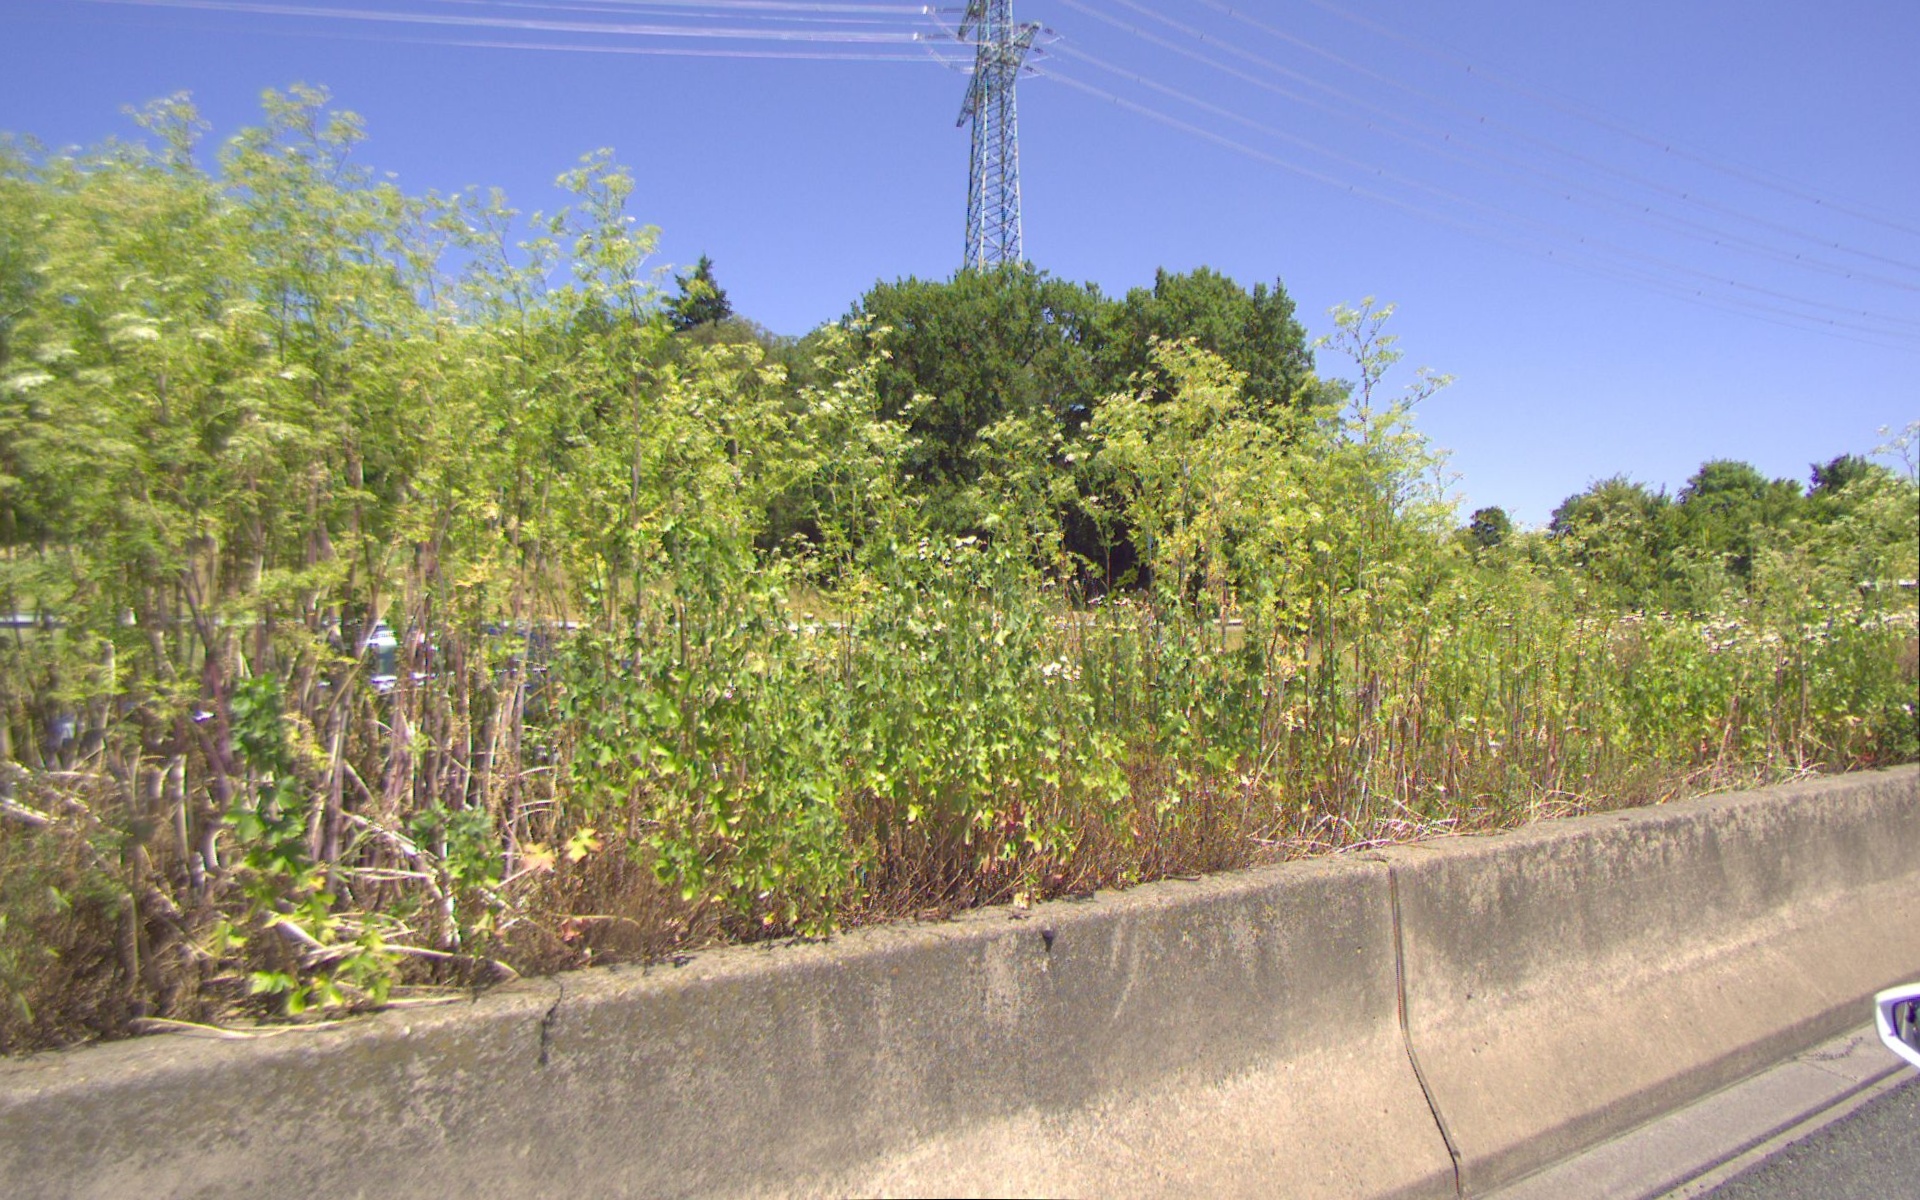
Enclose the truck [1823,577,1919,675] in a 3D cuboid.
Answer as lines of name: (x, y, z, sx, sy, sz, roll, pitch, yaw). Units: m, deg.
truck: (37.036, 1.018, 38.003, 11.674, 3.332, 2.753, 1, -1, -29)
